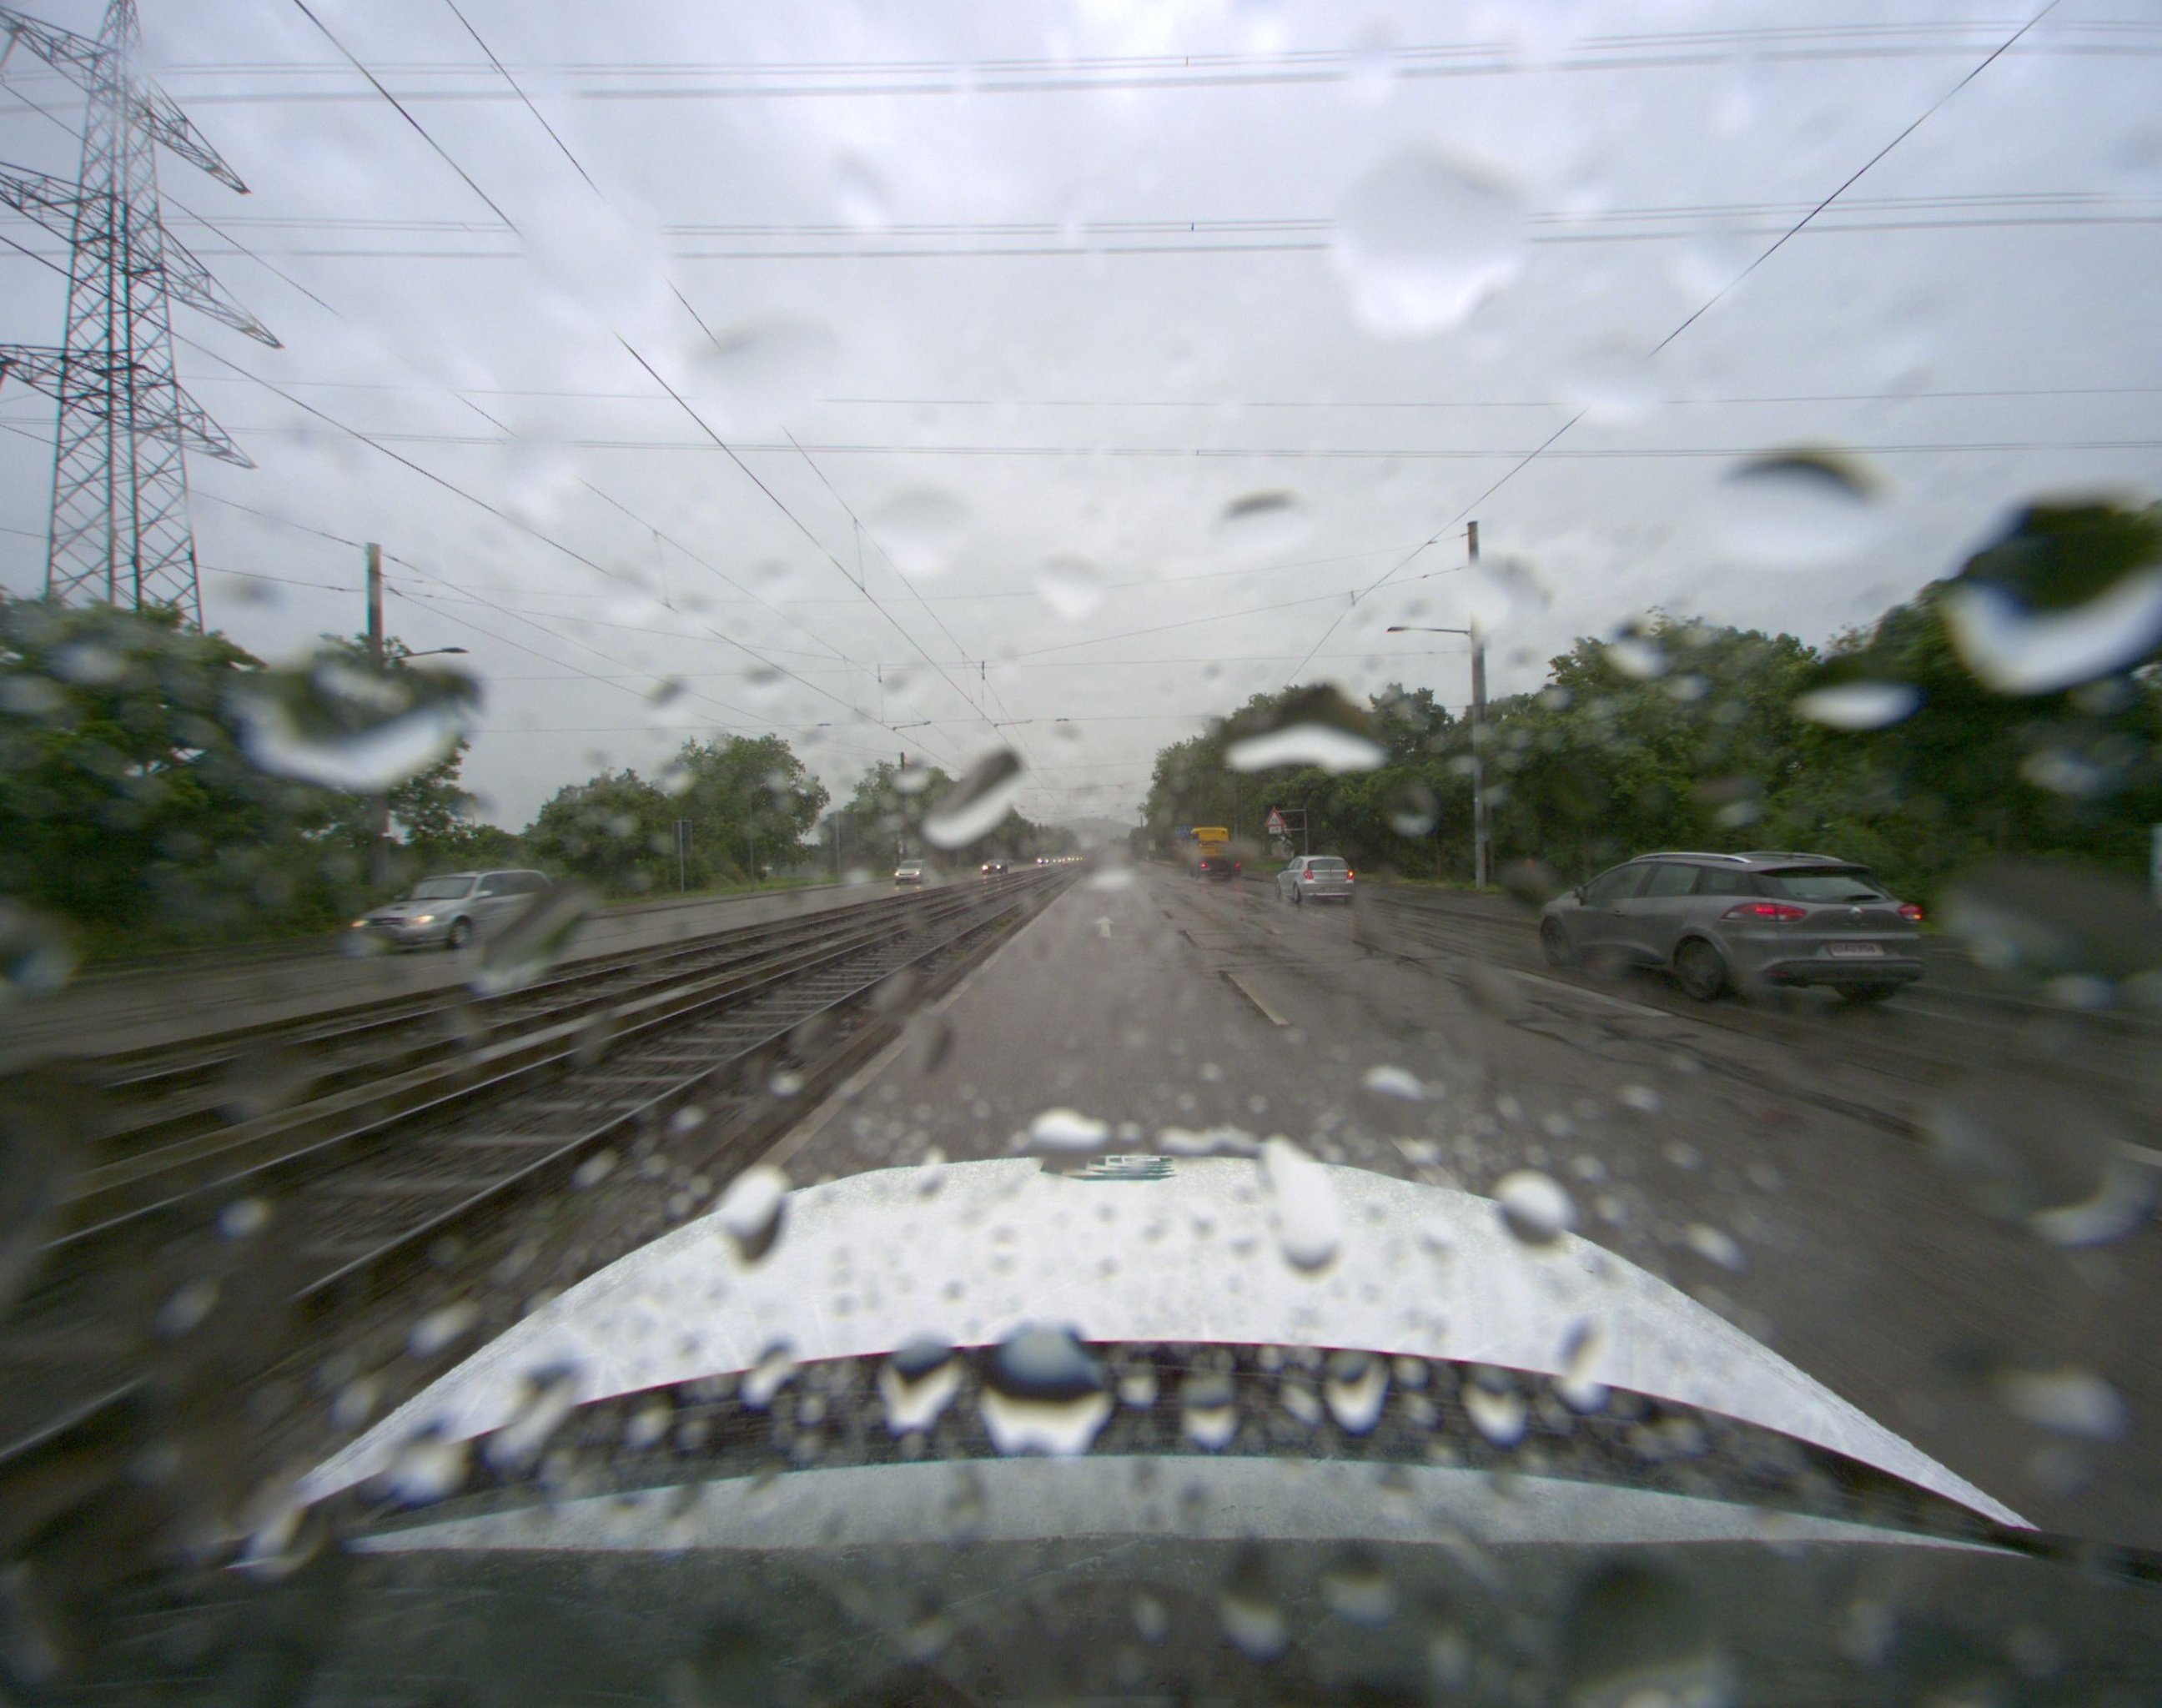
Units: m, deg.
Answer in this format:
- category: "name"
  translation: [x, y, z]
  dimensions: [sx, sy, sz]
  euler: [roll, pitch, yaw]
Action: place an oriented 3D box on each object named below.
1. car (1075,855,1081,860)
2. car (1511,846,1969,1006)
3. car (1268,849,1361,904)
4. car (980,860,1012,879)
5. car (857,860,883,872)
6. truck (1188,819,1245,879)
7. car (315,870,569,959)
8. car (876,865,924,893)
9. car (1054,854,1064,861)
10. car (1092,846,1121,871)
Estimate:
- category: "car"
  translation: [-0.958, 1.085, 259.219]
  dimensions: [1.782, 1.549, 5.319]
  euler: [0, 1, 4]
- category: "car"
  translation: [6.812, 0.606, 9.173]
  dimensions: [1.880, 1.357, 4.281]
  euler: [0, 1, 3]
- category: "car"
  translation: [7.130, 0.625, 25.309]
  dimensions: [1.621, 1.503, 4.606]
  euler: [0, 1, 0]
- category: "car"
  translation: [-8.058, 1.442, 77.293]
  dimensions: [1.984, 1.464, 5.258]
  euler: [-4, 1, 5]
- category: "car"
  translation: [-32.609, 1.787, 125.813]
  dimensions: [1.858, 1.686, 4.593]
  euler: [-1, 1, -44]
- category: "truck"
  translation: [7.801, -0.318, 47.574]
  dimensions: [2.545, 3.257, 6.939]
  euler: [0, 1, 3]
- category: "car"
  translation: [-14.663, 1.291, 19.197]
  dimensions: [1.818, 1.635, 5.139]
  euler: [0, 1, 1]
- category: "car"
  translation: [-11.587, 1.563, 52.526]
  dimensions: [1.835, 1.574, 5.068]
  euler: [0, 1, 2]
- category: "car"
  translation: [-4.510, 0.623, 168.924]
  dimensions: [1.735, 1.354, 4.548]
  euler: [0, 1, 2]
- category: "car"
  translation: [1.835, 0.260, 57.492]
  dimensions: [1.981, 1.684, 3.743]
  euler: [0, 1, 3]
